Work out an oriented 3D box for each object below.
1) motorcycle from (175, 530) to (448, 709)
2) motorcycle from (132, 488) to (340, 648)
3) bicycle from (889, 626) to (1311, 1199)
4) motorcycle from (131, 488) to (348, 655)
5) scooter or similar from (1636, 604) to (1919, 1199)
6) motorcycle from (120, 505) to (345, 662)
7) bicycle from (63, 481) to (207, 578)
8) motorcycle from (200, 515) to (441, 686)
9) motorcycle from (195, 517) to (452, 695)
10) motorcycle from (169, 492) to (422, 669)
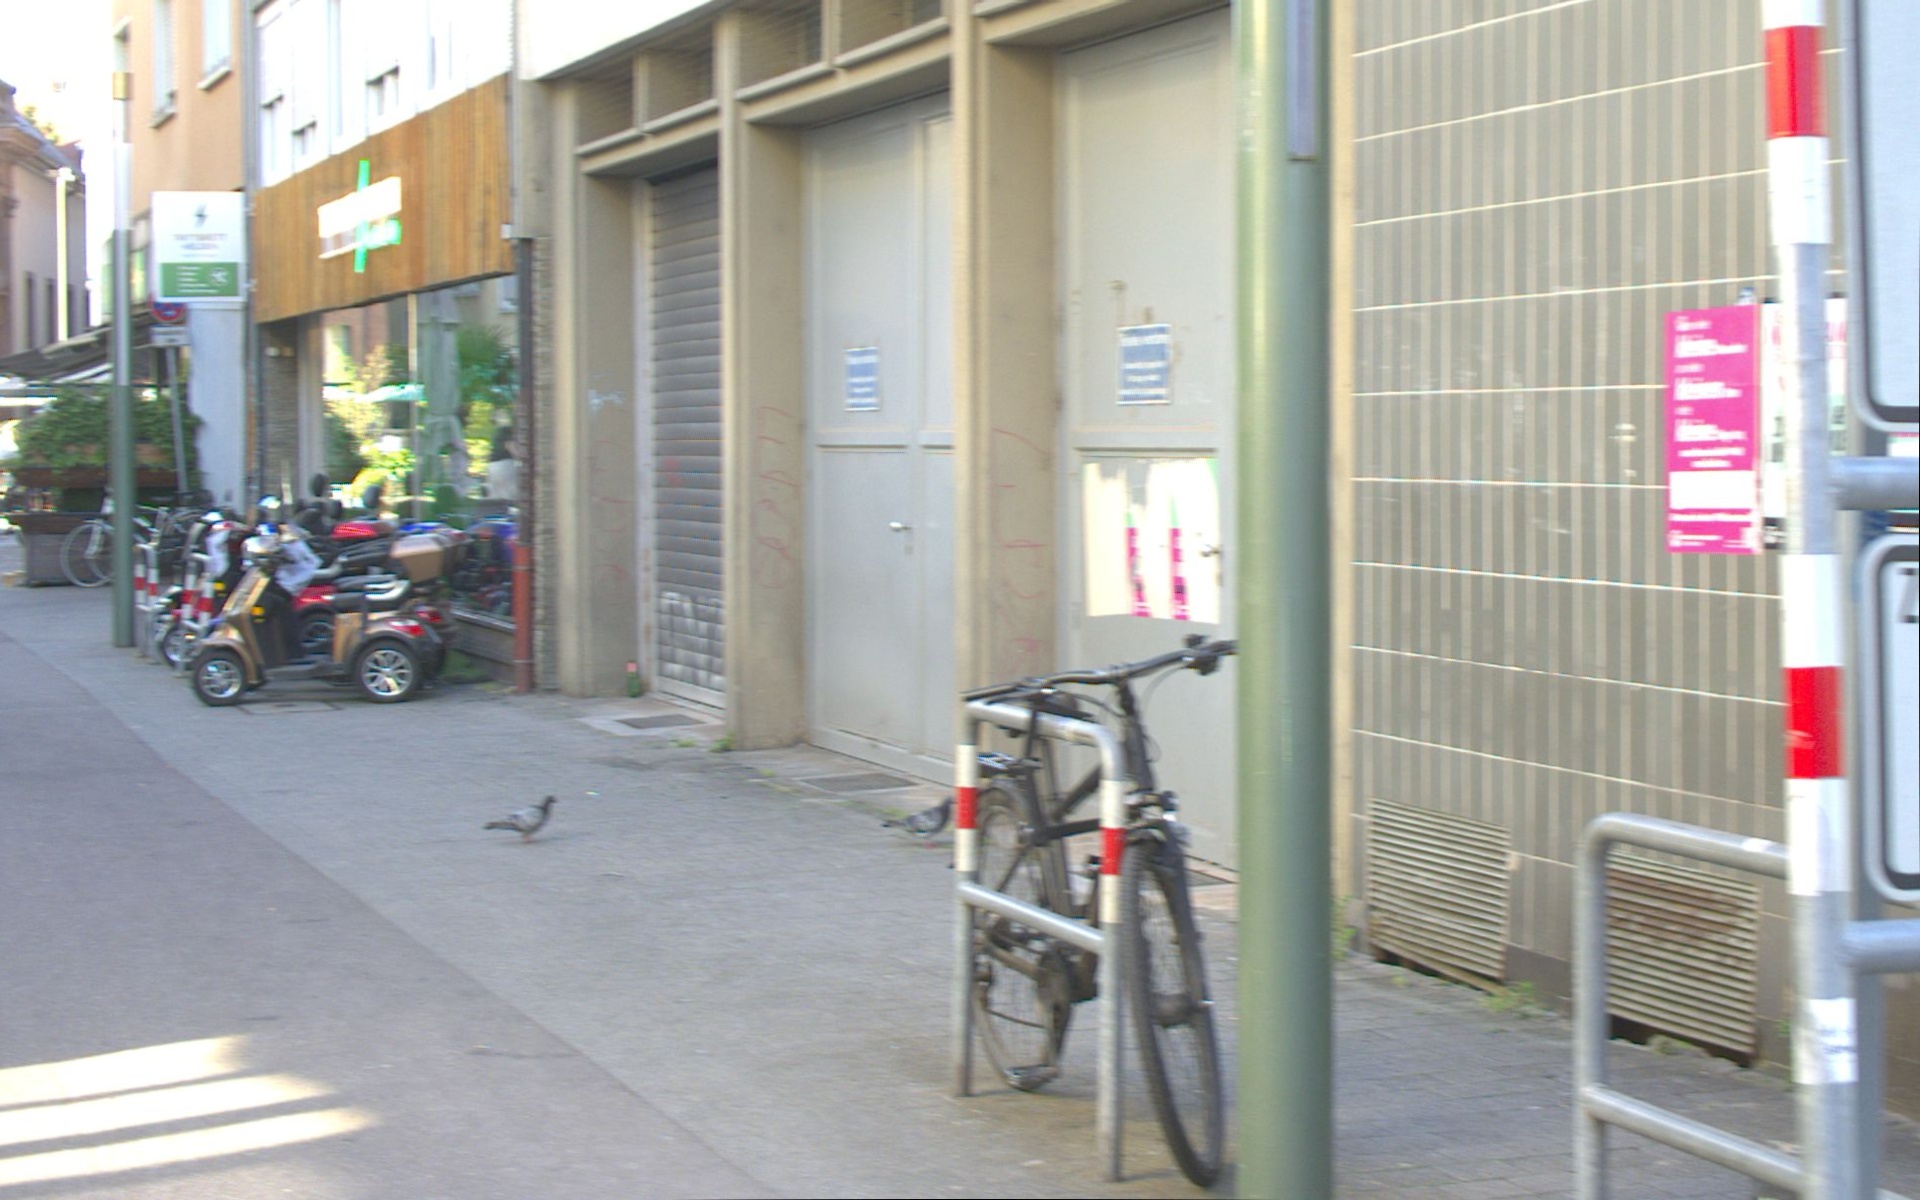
[{"bbox_3d":[-3.927,0.115,20.874,1.564,1.038,0.372,-1,3,-1],"label":"motorcycle"},{"bbox_3d":[-5.532,-0.251,26.321,1.483,1.177,0.412,-1,3,-4],"label":"motorcycle"},{"bbox_3d":[0.258,0.654,7.493,0.446,1.136,1.710,-1,1,-14],"label":"bicycle"},{"bbox_3d":[-5.280,-0.216,25.233,1.483,1.177,0.412,-1,3,-4],"label":"motorcycle"},{"bbox_3d":[1.541,0.656,5.379,0.307,1.248,1.239,-1,2,-23],"label":"scooter or similar"},{"bbox_3d":[-5.171,-0.124,24.470,1.483,1.072,0.412,-1,3,-1],"label":"motorcycle"},{"bbox_3d":[-8.778,-0.756,36.622,1.463,1.001,0.573,-1,3,-12],"label":"bicycle"},{"bbox_3d":[-4.190,-0.001,22.582,1.483,1.072,0.412,-1,3,-1],"label":"motorcycle"},{"bbox_3d":[-4.001,0.033,21.667,1.516,1.072,0.412,-1,3,-1],"label":"motorcycle"},{"bbox_3d":[-4.581,-0.139,23.747,1.624,1.171,0.480,-1,3,-1],"label":"motorcycle"}]
